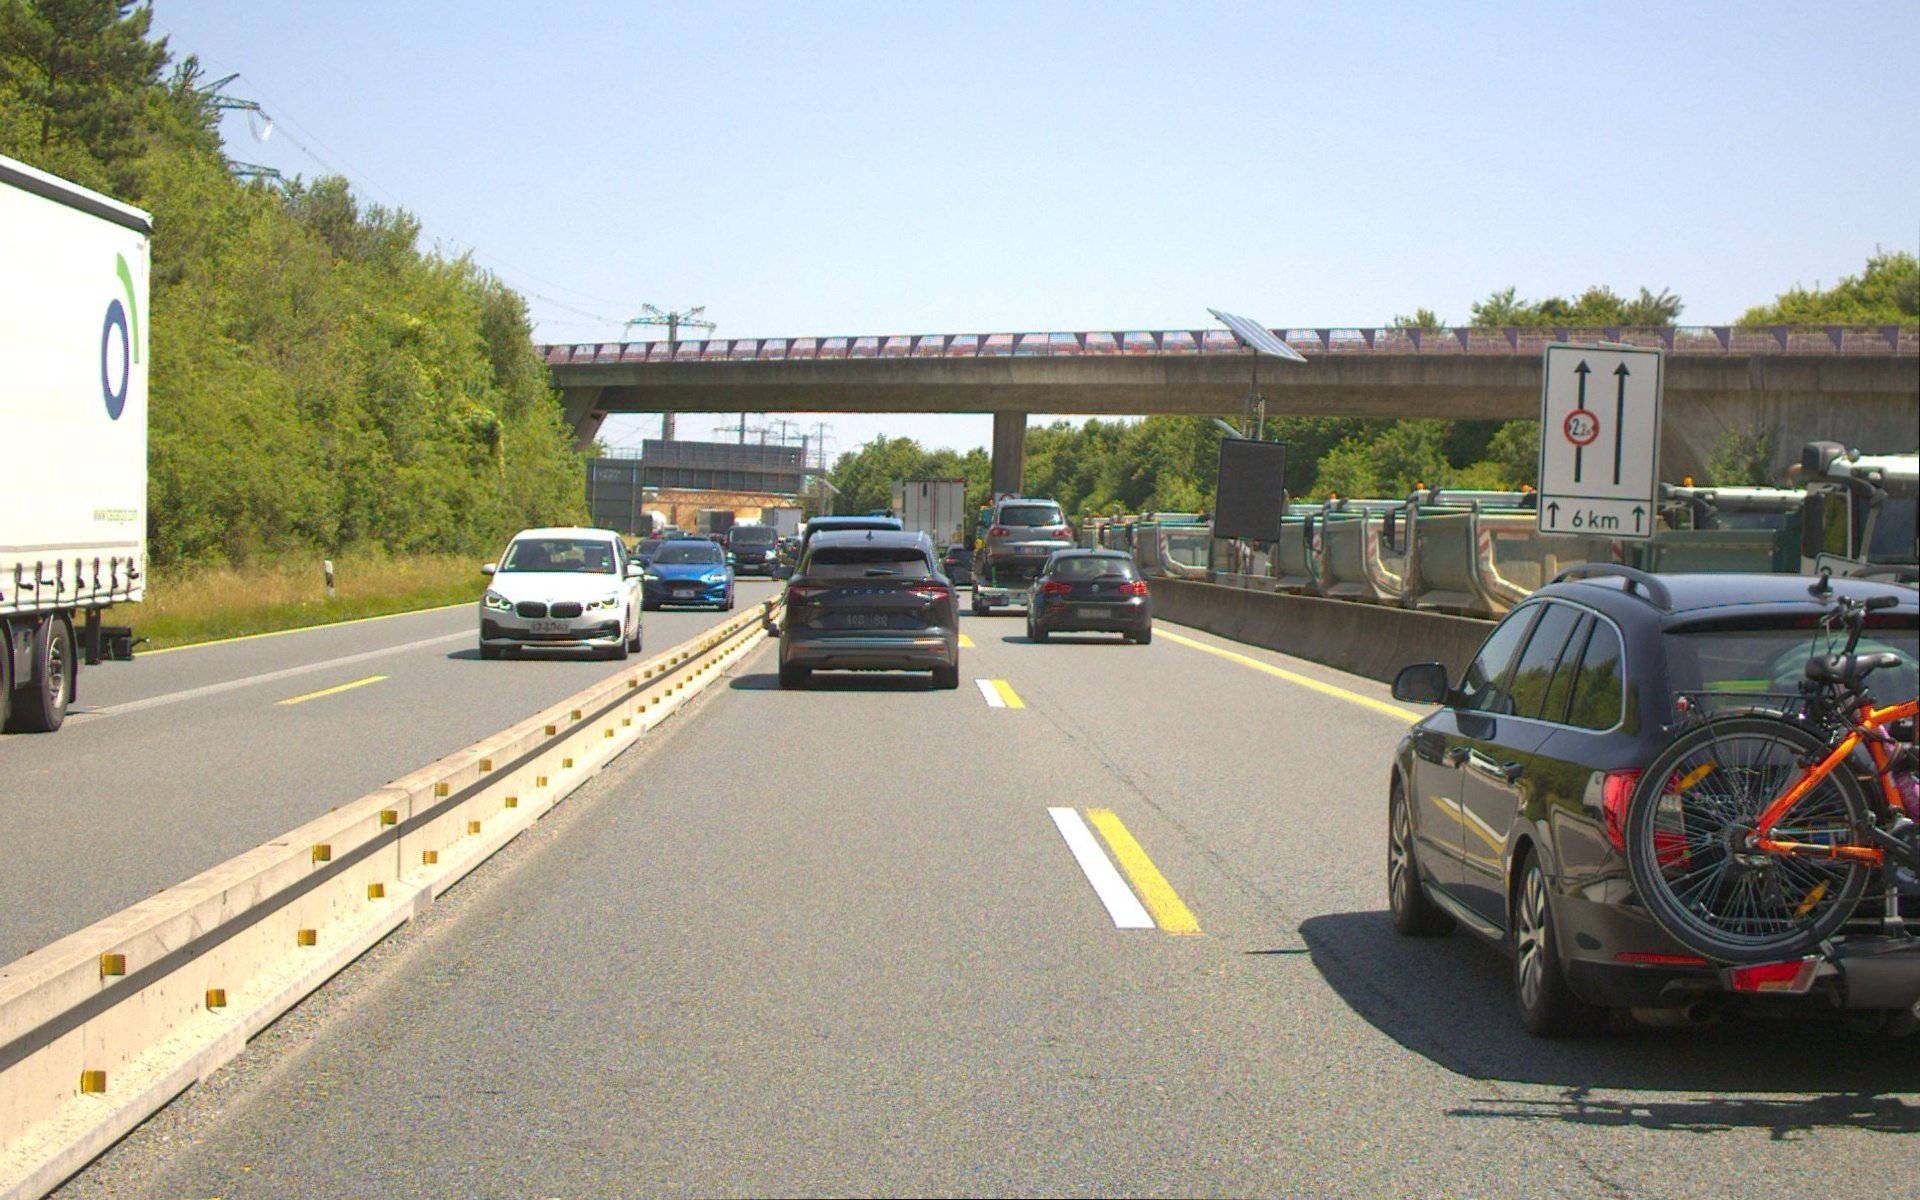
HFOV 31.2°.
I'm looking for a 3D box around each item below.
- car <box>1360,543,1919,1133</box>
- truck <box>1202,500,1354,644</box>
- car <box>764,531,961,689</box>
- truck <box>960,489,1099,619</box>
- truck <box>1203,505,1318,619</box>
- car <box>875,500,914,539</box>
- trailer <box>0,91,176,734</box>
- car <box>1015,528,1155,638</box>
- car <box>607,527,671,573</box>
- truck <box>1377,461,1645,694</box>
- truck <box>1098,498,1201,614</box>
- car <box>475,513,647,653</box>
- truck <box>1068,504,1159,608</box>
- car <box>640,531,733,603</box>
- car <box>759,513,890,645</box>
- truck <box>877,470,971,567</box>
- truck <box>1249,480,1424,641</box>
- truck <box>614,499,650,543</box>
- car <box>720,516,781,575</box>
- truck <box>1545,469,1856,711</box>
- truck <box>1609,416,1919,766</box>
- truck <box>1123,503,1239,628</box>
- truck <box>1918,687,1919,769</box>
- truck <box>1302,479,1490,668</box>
[{"bbox_3d":[2.590,0.590,11.234,1.899,1.485,4.948,1,1,-1],"label":"car"},{"bbox_3d":[8.268,-0.789,90.519,2.687,3.545,9.326,1,1,-2],"label":"truck"},{"bbox_3d":[-0.981,0.064,35.926,1.899,1.500,4.276,1,1,-1],"label":"car"},{"bbox_3d":[1.382,-1.016,72.522,2.405,2.549,7.501,1,1,-2],"label":"truck"},{"bbox_3d":[10.207,-1.339,117.671,2.687,3.714,9.326,1,1,-2],"label":"truck"},{"bbox_3d":[-3.378,-4.150,177.441,1.899,1.962,4.276,1,1,-1],"label":"car"},{"bbox_3d":[-7.768,-1.296,23.950,2.638,4.298,8.448,2,1,-1],"label":"trailer"},{"bbox_3d":[1.869,-0.284,52.759,1.899,1.580,4.276,1,1,-1],"label":"car"},{"bbox_3d":[-11.047,-1.736,118.488,1.793,1.520,4.531,1,1,-1],"label":"car"},{"bbox_3d":[9.099,-0.448,57.939,2.687,3.545,9.603,1,1,-1],"label":"truck"},{"bbox_3d":[6.587,-1.575,120.706,2.687,3.842,9.326,1,1,-2],"label":"truck"},{"bbox_3d":[-4.975,-0.228,43.287,1.762,1.626,4.297,1,1,-2],"label":"car"},{"bbox_3d":[5.886,-1.737,133.377,2.687,3.830,9.326,1,1,-2],"label":"truck"},{"bbox_3d":[-5.664,-0.692,71.489,1.712,1.420,4.171,1,1,-2],"label":"car"},{"bbox_3d":[-2.108,-0.357,54.498,1.899,1.962,4.276,1,1,-1],"label":"car"},{"bbox_3d":[-1.561,-3.359,142.421,3.292,3.832,10.111,1,1,-3],"label":"truck"},{"bbox_3d":[8.827,-0.971,81.716,2.687,3.545,9.326,1,1,-2],"label":"truck"},{"bbox_3d":[-24.645,-5.896,258.205,2.508,3.175,10.112,1,1,-6],"label":"truck"},{"bbox_3d":[-7.431,-1.966,122.311,1.890,2.007,4.818,1,1,-1],"label":"car"},{"bbox_3d":[11.870,-0.244,56.137,2.687,3.545,9.604,1,1,-2],"label":"truck"},{"bbox_3d":[9.856,-0.170,39.801,2.538,3.545,9.604,1,1,-2],"label":"truck"},{"bbox_3d":[6.955,-1.136,109.272,2.687,3.748,9.326,1,1,-2],"label":"truck"},{"bbox_3d":[10.419,-0.042,28.081,2.533,3.499,8.945,1,1,-1],"label":"truck"},{"bbox_3d":[8.783,-0.586,70.289,2.687,3.545,9.406,1,1,1],"label":"truck"}]
